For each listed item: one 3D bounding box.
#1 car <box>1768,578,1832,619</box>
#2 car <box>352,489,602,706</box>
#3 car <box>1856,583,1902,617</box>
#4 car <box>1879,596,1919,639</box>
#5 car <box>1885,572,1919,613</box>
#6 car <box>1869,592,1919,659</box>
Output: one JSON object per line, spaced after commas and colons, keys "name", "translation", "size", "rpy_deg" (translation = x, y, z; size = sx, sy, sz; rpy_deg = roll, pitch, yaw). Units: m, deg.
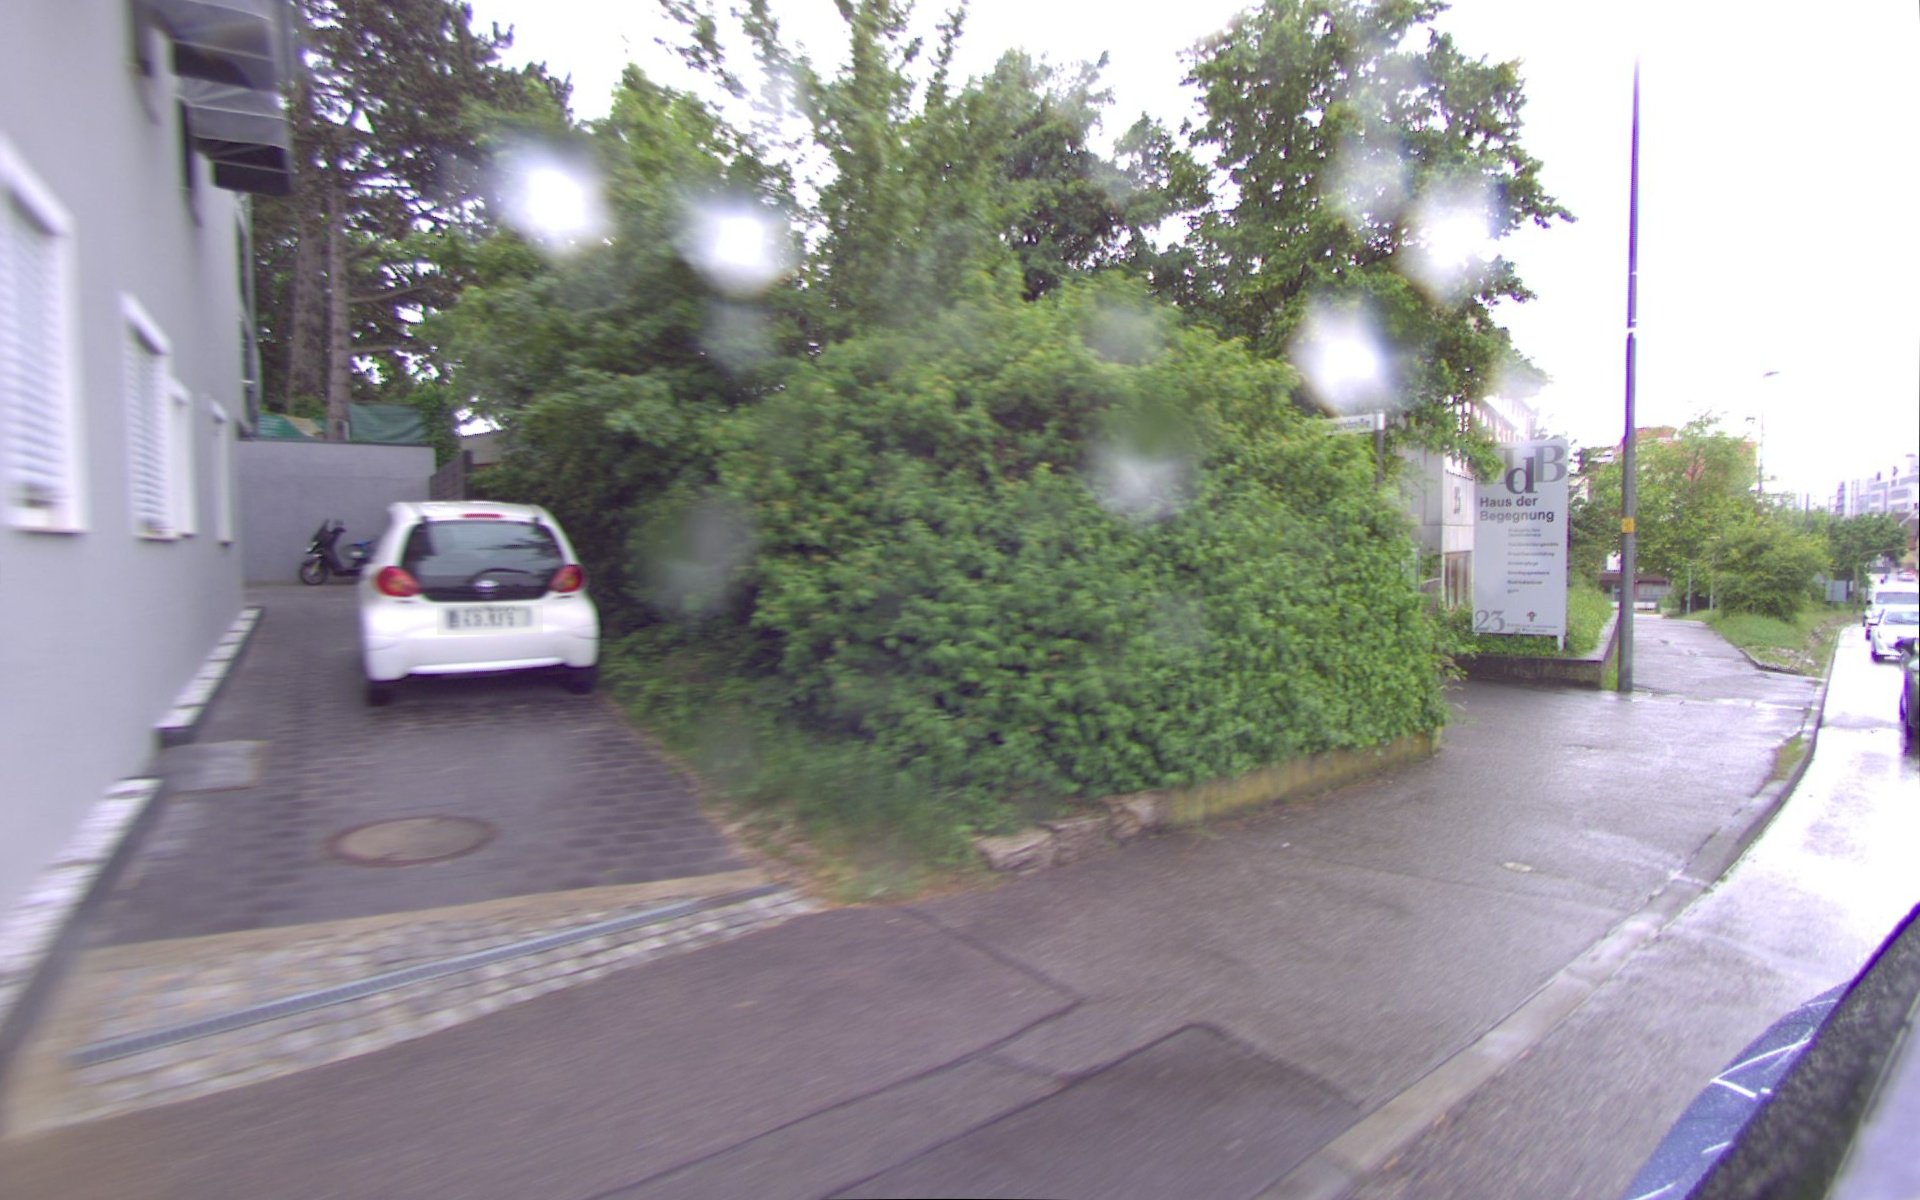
{"name": "car", "translation": [39.687, -0.082, 47.782], "size": [2.043, 1.843, 3.905], "rpy_deg": [1, 1, 44]}
{"name": "car", "translation": [-4.336, -0.153, 8.789], "size": [1.604, 1.472, 3.583], "rpy_deg": [0, 4, -31]}
{"name": "car", "translation": [57.537, 0.017, 63.403], "size": [2.024, 1.961, 4.869], "rpy_deg": [2, 0, 42]}
{"name": "car", "translation": [40.276, 0.753, 42.827], "size": [1.896, 1.745, 4.392], "rpy_deg": [2, 0, 44]}
{"name": "car", "translation": [48.274, -0.327, 51.259], "size": [2.024, 1.961, 4.869], "rpy_deg": [2, 0, 42]}
{"name": "car", "translation": [26.997, 0.651, 28.470], "size": [1.893, 1.680, 4.873], "rpy_deg": [-3, 0, 40]}
